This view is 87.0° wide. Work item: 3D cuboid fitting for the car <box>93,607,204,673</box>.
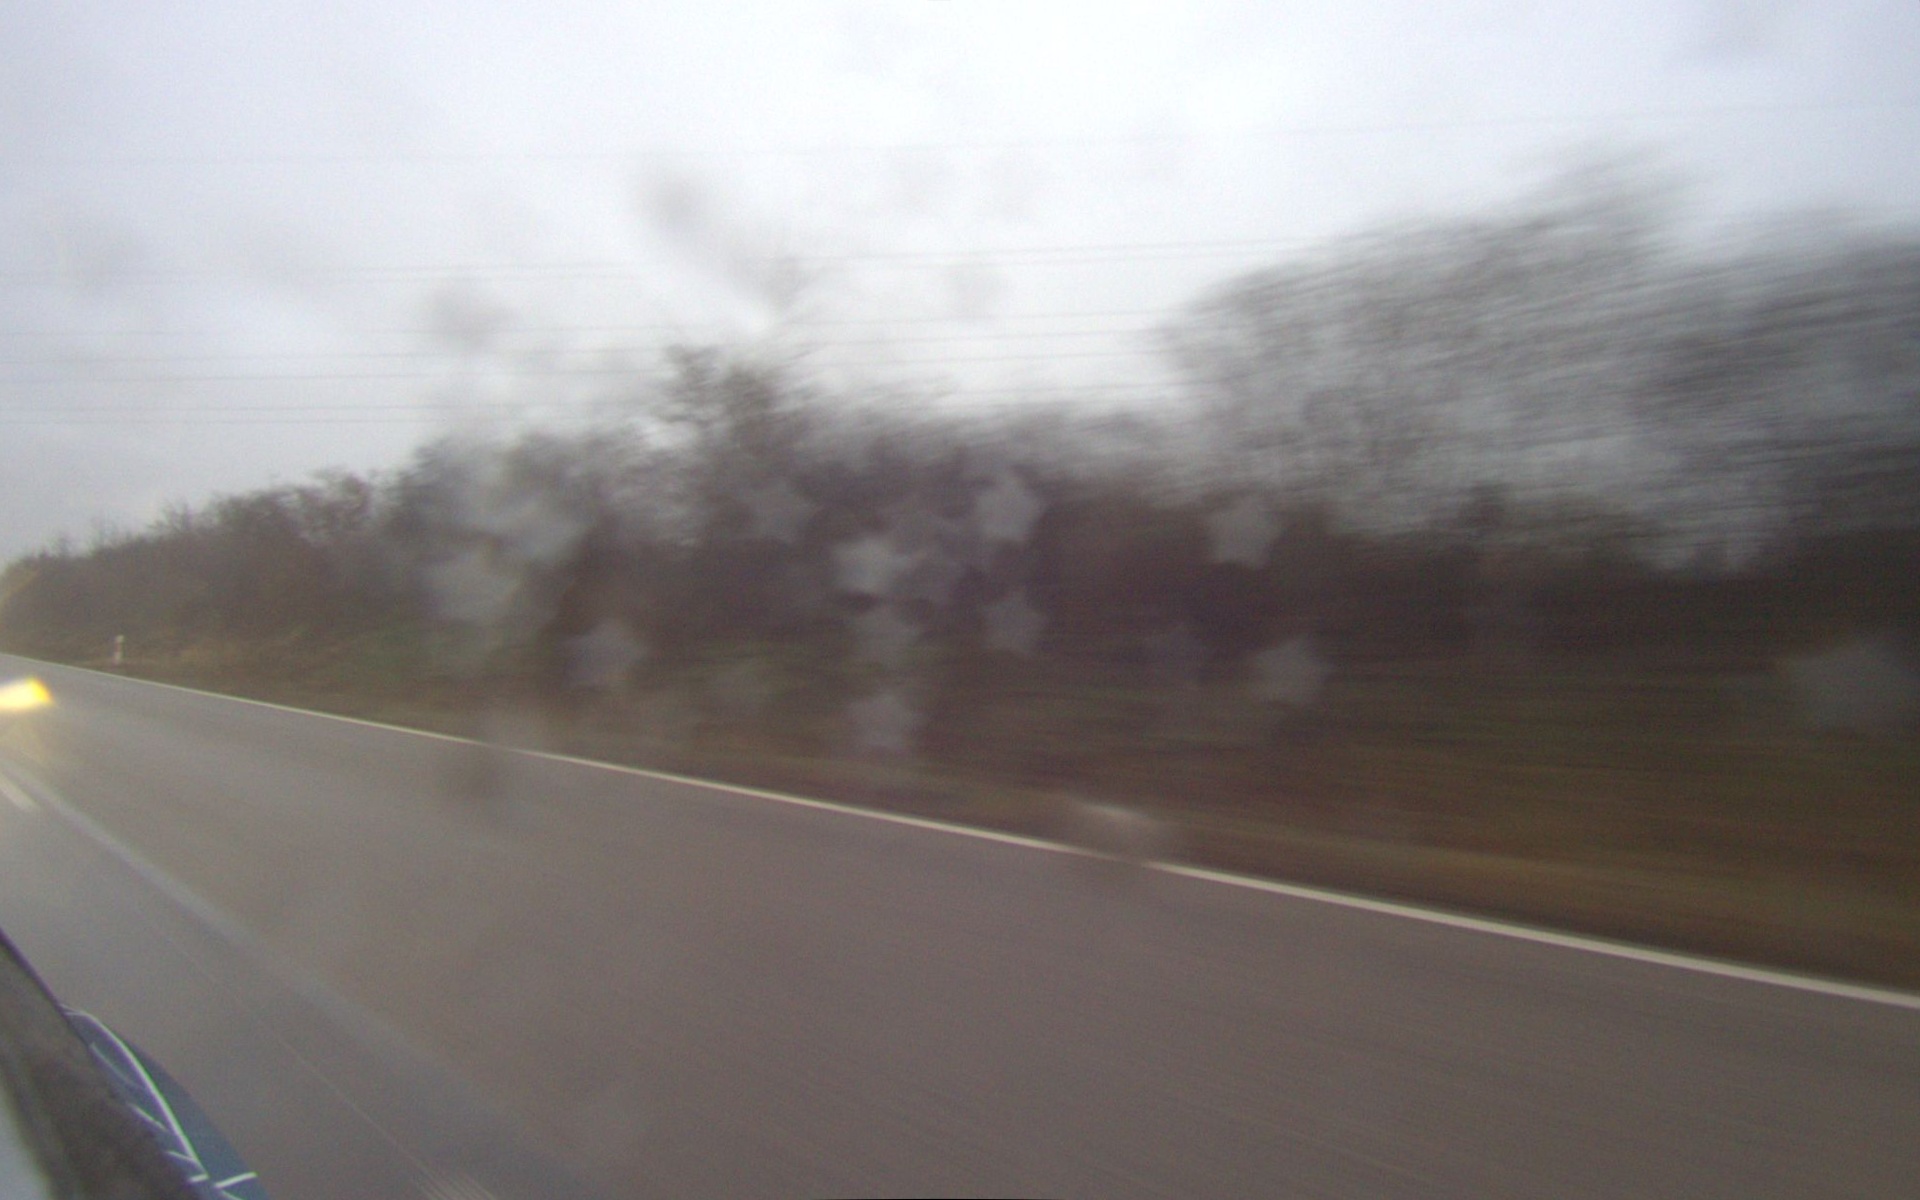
[{"bbox_3d":[-24.337,1.136,30.314,3.999,1.798,1.972,-1,0,42],"label":"car"}]
